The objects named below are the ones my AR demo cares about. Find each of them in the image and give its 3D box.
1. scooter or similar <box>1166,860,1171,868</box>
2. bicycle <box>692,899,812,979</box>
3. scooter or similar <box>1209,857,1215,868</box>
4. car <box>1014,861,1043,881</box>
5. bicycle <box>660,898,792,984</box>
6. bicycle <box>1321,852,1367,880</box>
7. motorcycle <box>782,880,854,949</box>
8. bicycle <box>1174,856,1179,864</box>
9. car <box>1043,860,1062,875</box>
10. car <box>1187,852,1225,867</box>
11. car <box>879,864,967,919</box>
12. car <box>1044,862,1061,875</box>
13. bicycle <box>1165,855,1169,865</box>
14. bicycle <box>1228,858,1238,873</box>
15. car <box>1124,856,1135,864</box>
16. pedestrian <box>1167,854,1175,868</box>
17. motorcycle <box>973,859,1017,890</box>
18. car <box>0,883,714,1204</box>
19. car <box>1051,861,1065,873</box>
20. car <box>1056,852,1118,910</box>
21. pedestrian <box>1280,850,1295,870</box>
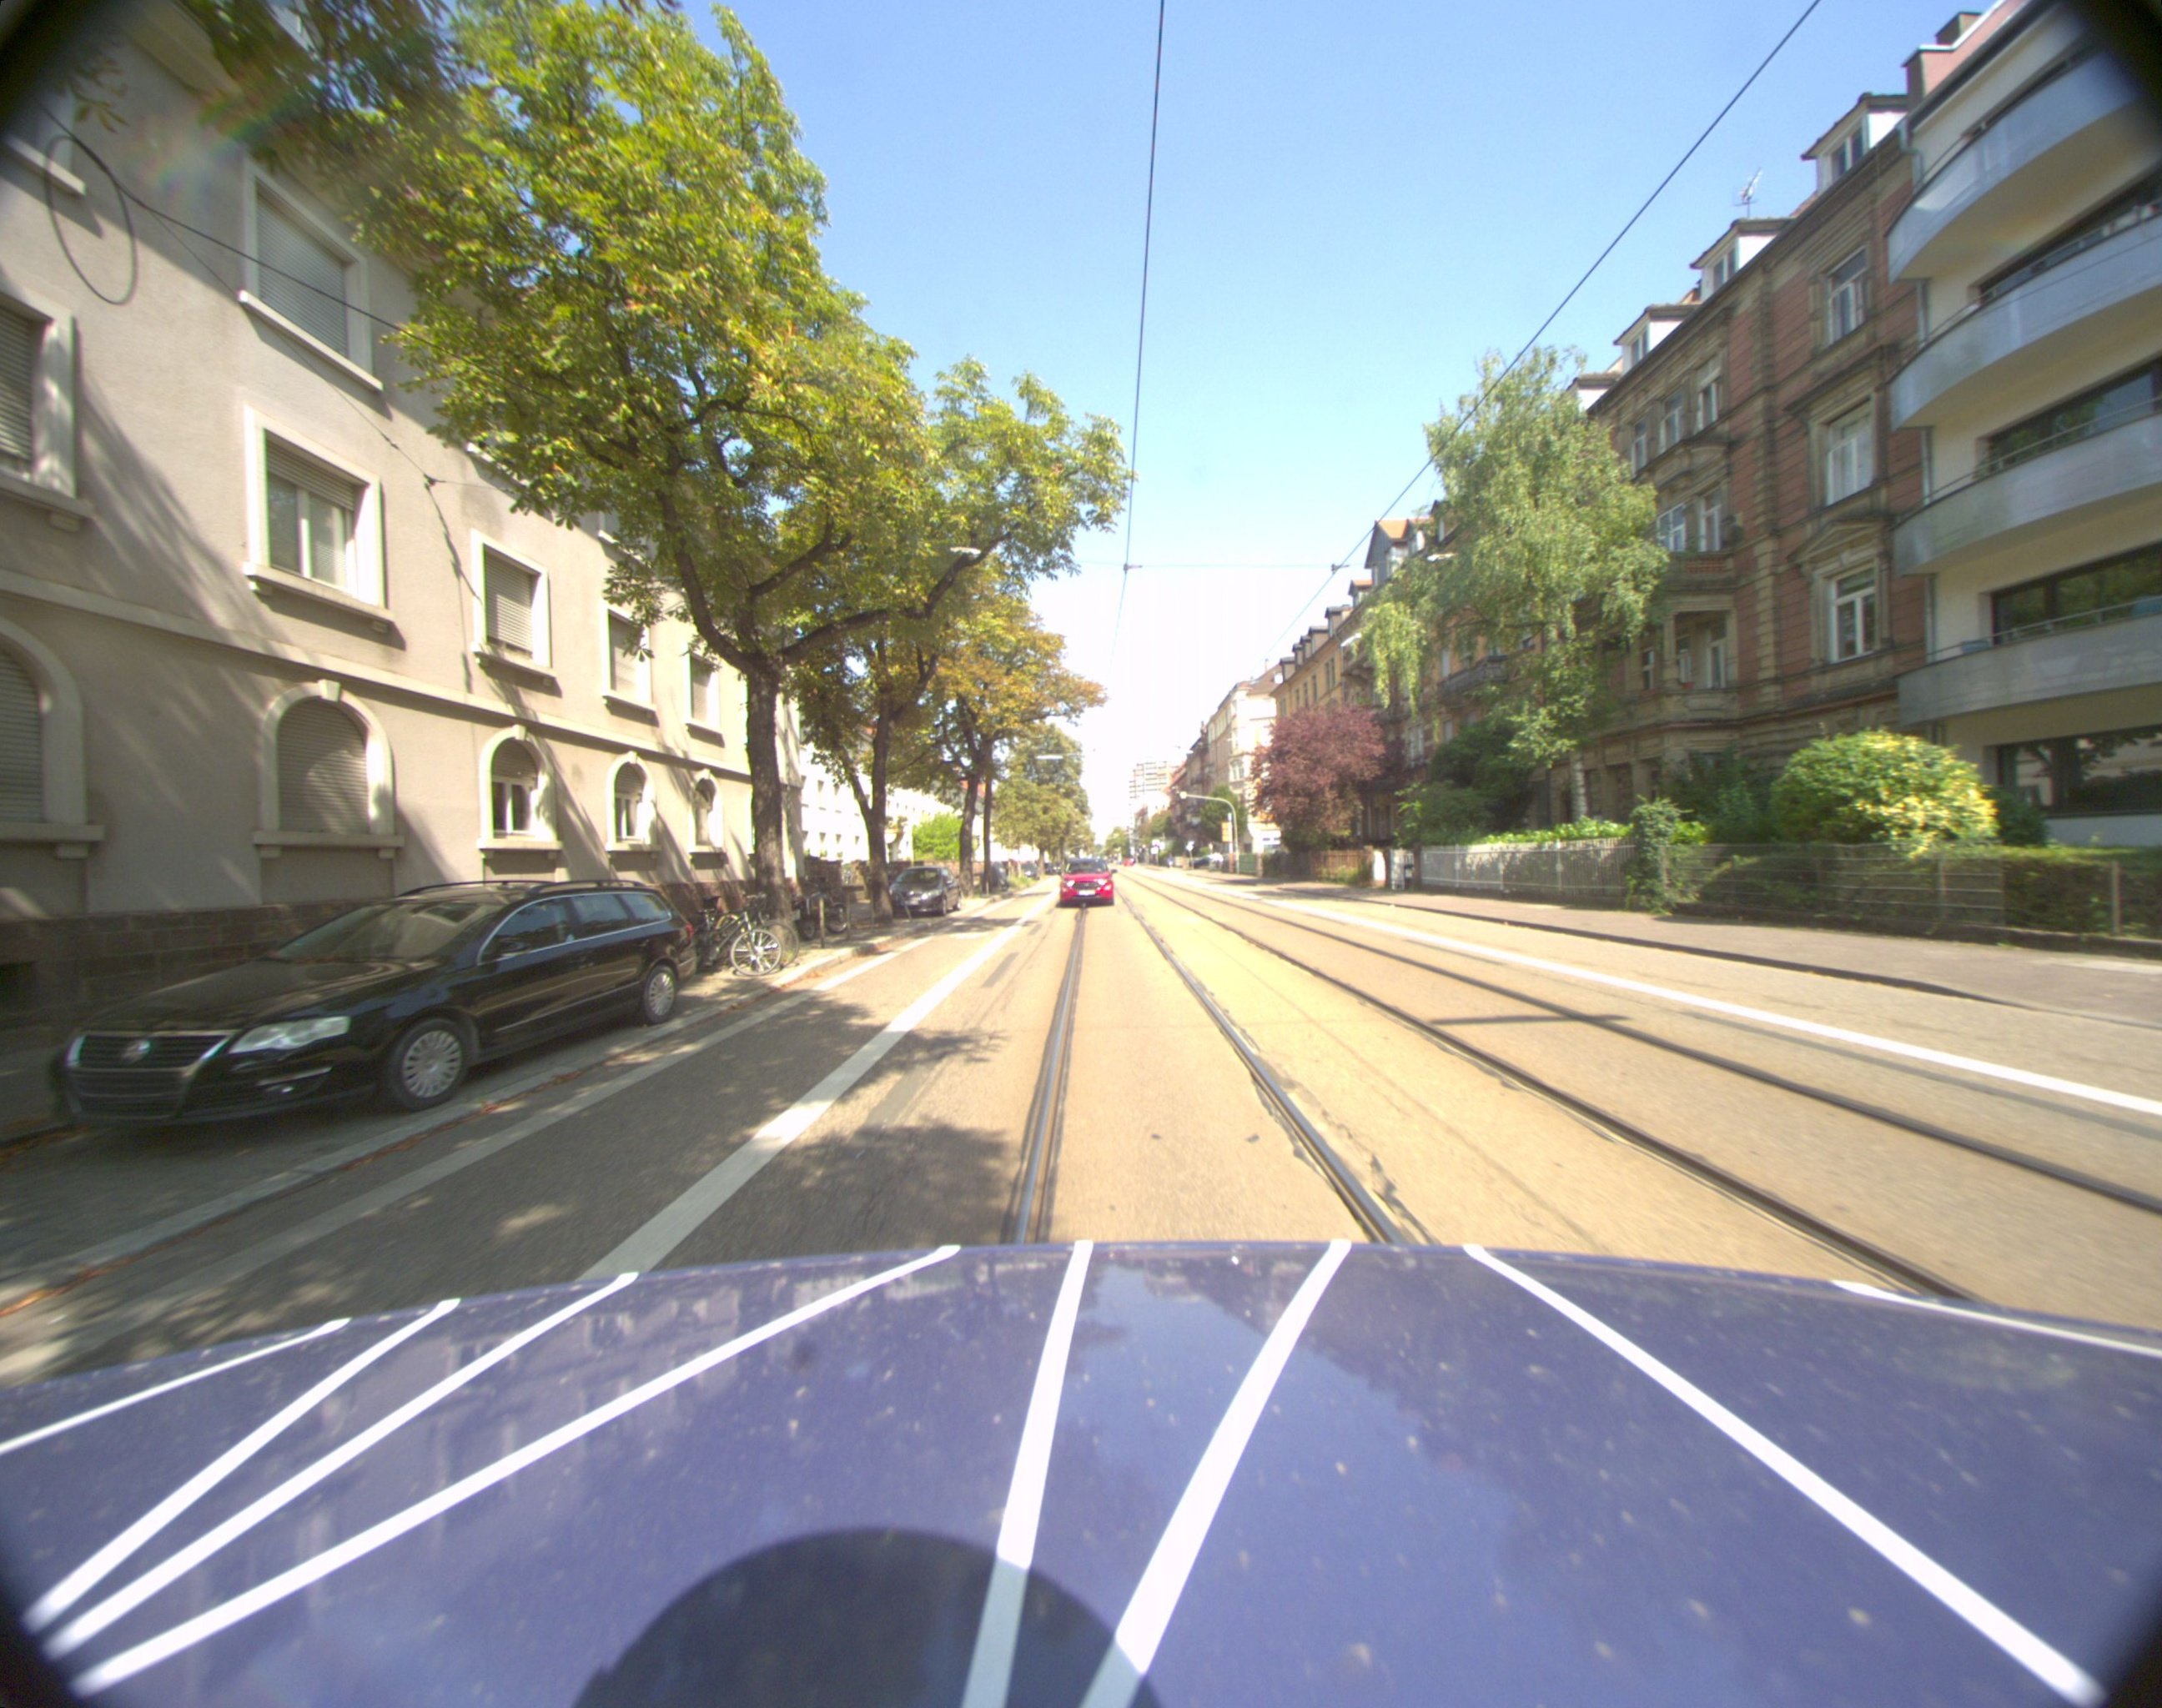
[{"bbox_3d":[11.292,1.271,97.949,0.401,0.977,0.584,-3,0,-7],"label":"scooter or similar"},{"bbox_3d":[-4.867,1.258,11.253,1.609,1.097,0.399,-2,0,7],"label":"bicycle"},{"bbox_3d":[14.228,0.930,82.690,0.597,1.092,1.390,-3,-1,11],"label":"scooter or similar"},{"bbox_3d":[-4.229,1.327,61.639,1.897,1.468,4.840,-2,0,1],"label":"car"},{"bbox_3d":[-5.079,1.240,10.882,1.726,1.143,0.377,-2,0,7],"label":"bicycle"},{"bbox_3d":[12.079,0.553,34.882,1.817,1.175,0.716,-3,0,3],"label":"bicycle"},{"bbox_3d":[-5.454,1.218,15.910,0.712,1.248,2.177,-2,0,-1],"label":"motorcycle"},{"bbox_3d":[12.430,0.783,98.864,0.391,1.032,1.833,-2,-1,2],"label":"bicycle"},{"bbox_3d":[-2.995,1.368,80.159,1.760,1.468,4.386,-2,0,0],"label":"car"},{"bbox_3d":[14.576,0.646,88.631,4.111,1.585,1.879,-3,0,3],"label":"car"},{"bbox_3d":[-4.842,1.148,23.867,1.845,1.522,4.116,-2,-2,1],"label":"car"},{"bbox_3d":[-3.375,1.748,92.029,1.760,1.468,4.457,1,0,1],"label":"car"},{"bbox_3d":[12.385,0.858,108.836,0.391,1.397,1.582,-2,0,2],"label":"bicycle"},{"bbox_3d":[11.431,0.869,57.198,0.391,1.092,1.568,-2,0,-1],"label":"bicycle"},{"bbox_3d":[9.457,1.211,148.170,1.736,1.481,4.000,-1,-1,1],"label":"car"},{"bbox_3d":[11.474,0.868,97.381,0.885,1.745,0.870,-2,0,1],"label":"pedestrian"},{"bbox_3d":[-4.506,1.053,39.911,2.339,1.531,0.971,1,2,42],"label":"motorcycle"},{"bbox_3d":[-5.220,1.105,6.424,1.845,1.523,4.780,-1,0,1],"label":"car"},{"bbox_3d":[-3.124,1.747,102.637,1.621,1.468,4.039,-1,0,1],"label":"car"},{"bbox_3d":[0.306,0.839,25.946,1.802,1.801,4.417,0,0,4],"label":"car"},{"bbox_3d":[16.227,0.457,59.749,0.870,1.502,0.886,-2,0,-7],"label":"pedestrian"}]
